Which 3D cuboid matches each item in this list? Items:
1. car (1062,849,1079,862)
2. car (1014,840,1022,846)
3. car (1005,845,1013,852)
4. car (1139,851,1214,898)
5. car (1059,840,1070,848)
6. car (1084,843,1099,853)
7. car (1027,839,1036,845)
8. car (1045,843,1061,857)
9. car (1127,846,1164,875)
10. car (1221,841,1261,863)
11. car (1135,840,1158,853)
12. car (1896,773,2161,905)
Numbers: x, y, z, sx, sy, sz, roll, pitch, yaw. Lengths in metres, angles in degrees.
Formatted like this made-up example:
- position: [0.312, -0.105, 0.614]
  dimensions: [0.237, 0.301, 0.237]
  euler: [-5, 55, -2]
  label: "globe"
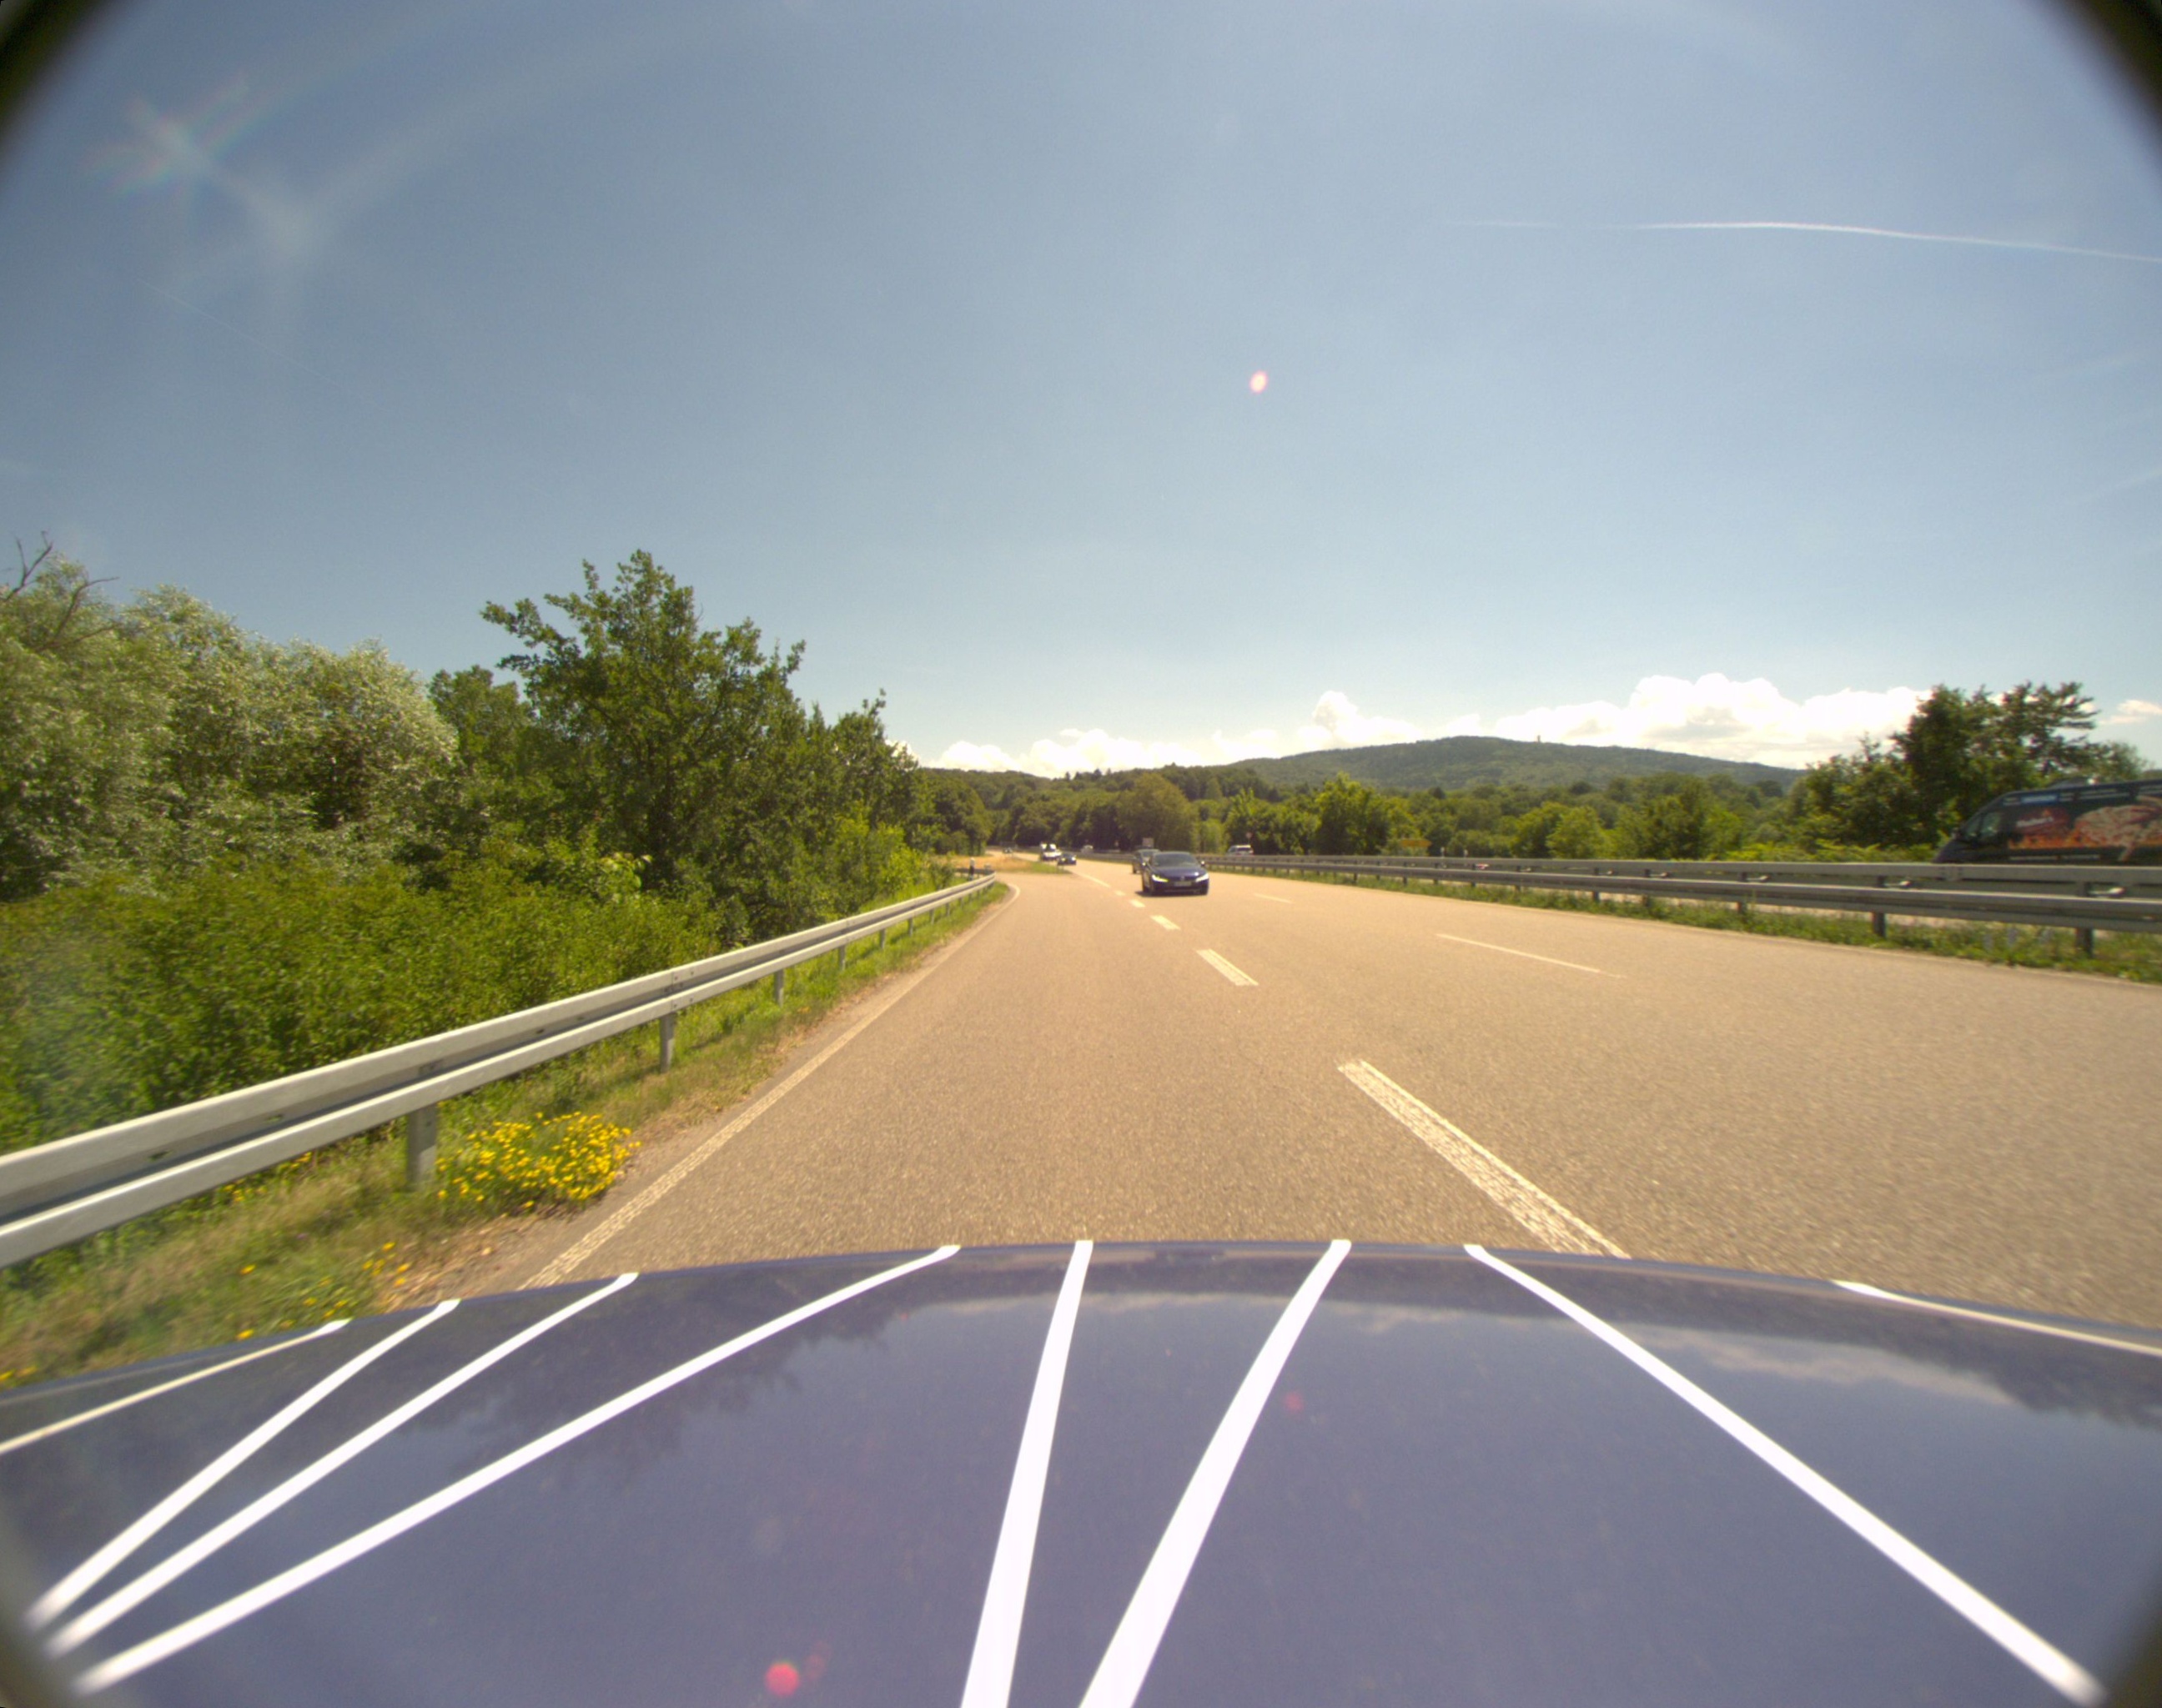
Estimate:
- position: [-1.287, 0.151, 89.276]
  dimensions: [1.846, 1.400, 4.468]
  euler: [-1, 1, -2]
  label: "car"
- position: [-19.292, -3.518, 233.215]
  dimensions: [1.937, 1.741, 4.905]
  euler: [-1, 2, -11]
  label: "car"
- position: [-17.779, -1.468, 187.468]
  dimensions: [1.876, 1.594, 3.996]
  euler: [-1, 2, -6]
  label: "car"
- position: [3.122, 0.637, 25.817]
  dimensions: [1.846, 1.399, 4.469]
  euler: [-2, 0, -1]
  label: "car"
- position: [-4.217, -2.474, 191.119]
  dimensions: [2.000, 1.882, 4.906]
  euler: [-1, 2, -11]
  label: "car"
- position: [2.096, -1.158, 153.714]
  dimensions: [2.001, 1.882, 4.905]
  euler: [-1, 2, -13]
  label: "car"
- position: [-15.177, -3.631, 233.338]
  dimensions: [2.000, 1.882, 4.906]
  euler: [-1, 2, -11]
  label: "car"
- position: [-4.194, -0.649, 111.915]
  dimensions: [2.009, 1.988, 4.575]
  euler: [-2, 2, -6]
  label: "car"
- position: [4.223, 0.384, 50.324]
  dimensions: [1.798, 1.658, 4.552]
  euler: [-3, 2, -3]
  label: "car"
- position: [14.756, -0.261, 70.410]
  dimensions: [2.211, 1.882, 4.907]
  euler: [-1, 2, -7]
  label: "car"
- position: [9.673, -1.108, 112.706]
  dimensions: [2.211, 1.882, 4.906]
  euler: [-1, 2, -9]
  label: "car"
- position: [22.666, -0.378, 17.354]
  dimensions: [2.209, 2.623, 5.625]
  euler: [-1, 2, 4]
  label: "car"
